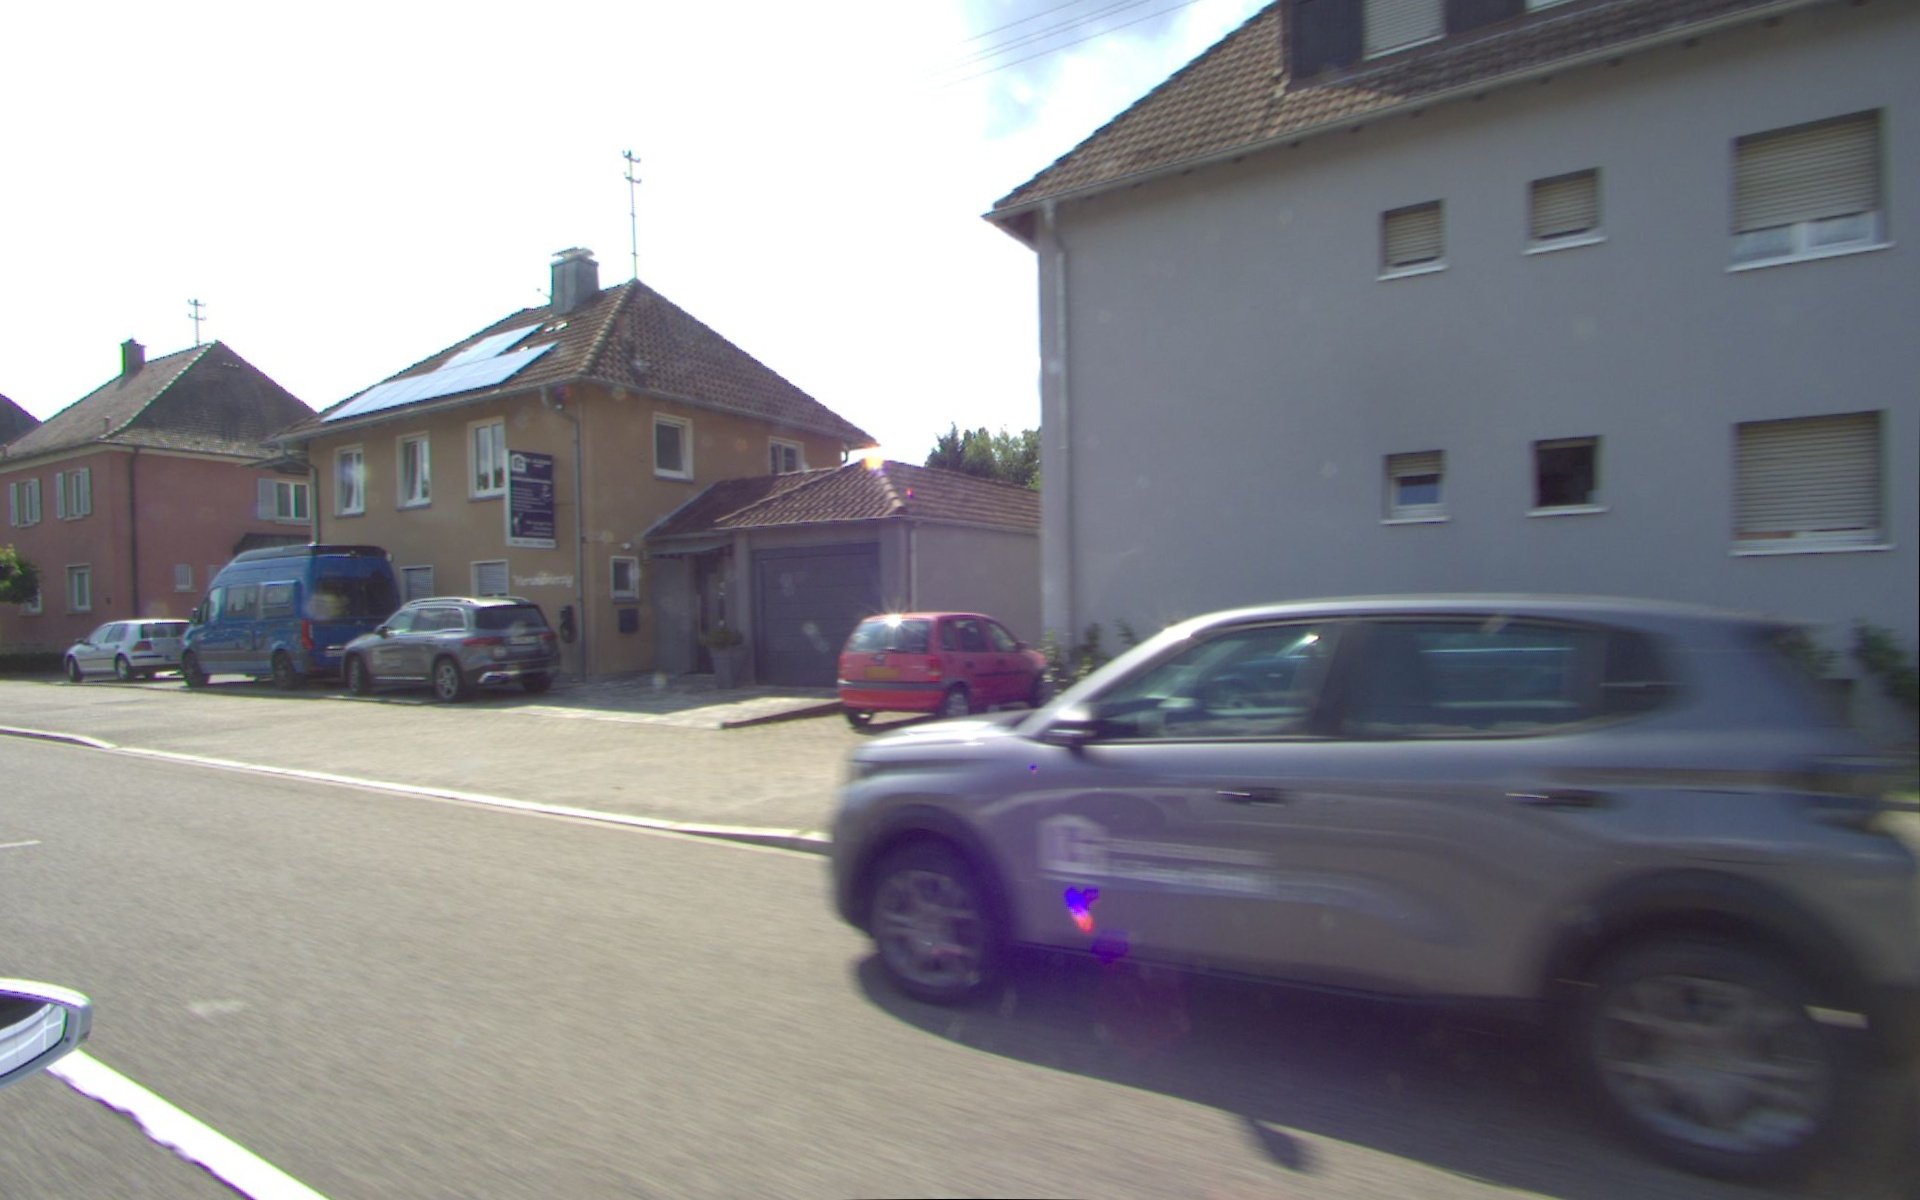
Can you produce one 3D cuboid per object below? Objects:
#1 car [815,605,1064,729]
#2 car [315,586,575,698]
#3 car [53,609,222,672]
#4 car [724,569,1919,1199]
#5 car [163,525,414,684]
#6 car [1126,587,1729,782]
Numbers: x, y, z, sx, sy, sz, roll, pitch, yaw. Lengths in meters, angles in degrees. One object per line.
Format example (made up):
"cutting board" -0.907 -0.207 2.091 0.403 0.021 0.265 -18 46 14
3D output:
"car" -0.127 0.796 13.397 1.701 1.398 3.644 -1 -1 30
"car" -9.242 0.673 17.862 4.792 1.735 1.832 0 2 31
"car" -20.274 0.977 24.654 4.283 1.428 1.647 -1 1 28
"car" 1.226 0.769 4.068 4.191 1.579 1.805 -1 -1 31
"car" -14.368 0.167 21.288 6.155 2.968 2.148 -1 -1 32
"car" 4.160 0.650 9.486 4.788 1.443 1.794 -1 1 32
